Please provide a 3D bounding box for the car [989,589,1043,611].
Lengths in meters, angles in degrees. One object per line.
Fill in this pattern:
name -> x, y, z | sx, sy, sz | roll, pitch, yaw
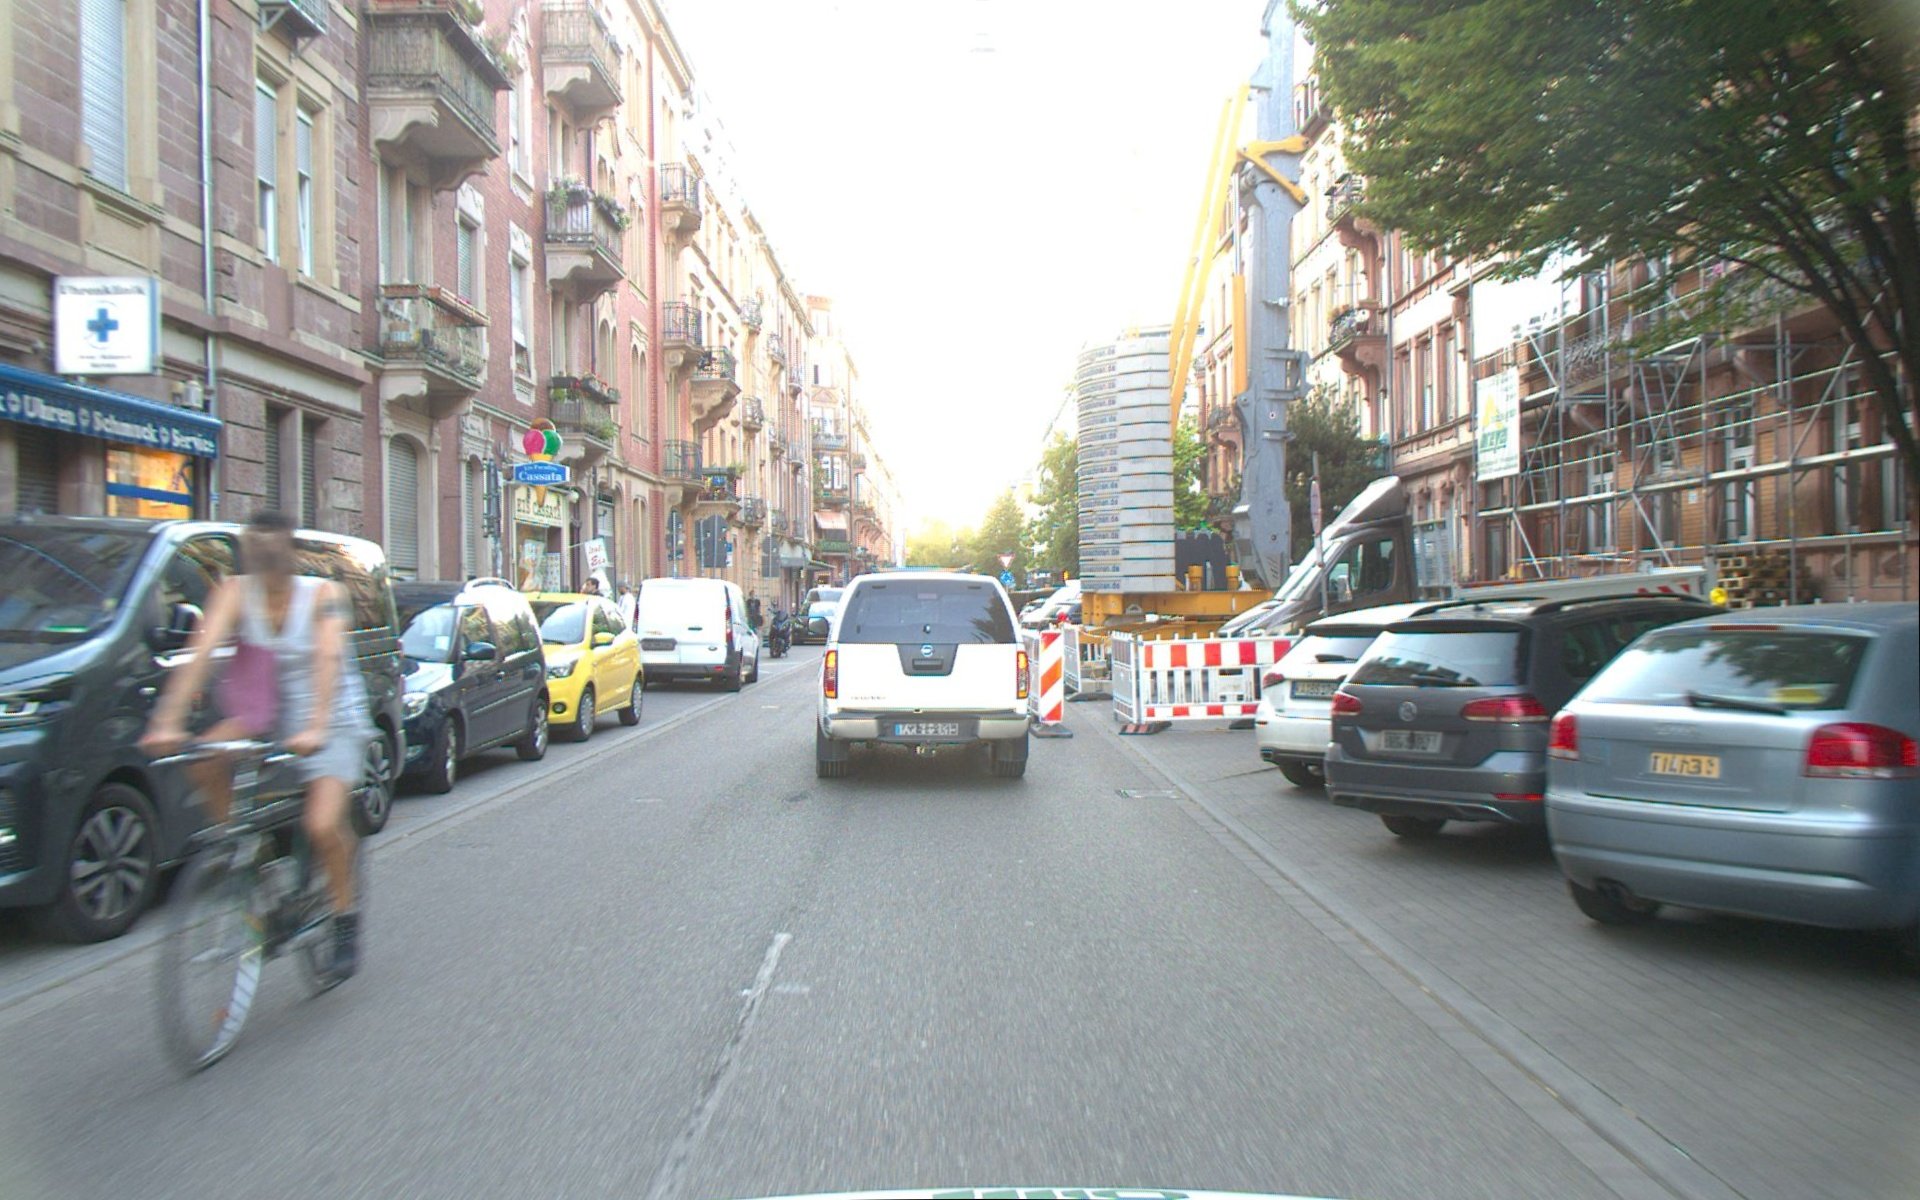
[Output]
car -> 4.332, 0.019, 127.645 | 4.108, 1.650, 1.820 | 0, 0, 2

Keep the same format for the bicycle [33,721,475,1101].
bicycle -> -2.371, 0.987, 5.877 | 0.784, 0.963, 2.004 | 0, 0, -2

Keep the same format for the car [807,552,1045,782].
car -> -0.446, 0.541, 15.543 | 1.895, 1.826, 4.617 | 0, 0, -5

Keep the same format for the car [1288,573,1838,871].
car -> 3.936, 0.633, 10.510 | 3.857, 1.557, 1.614 | 0, 0, -40

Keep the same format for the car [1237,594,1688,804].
car -> 4.096, 0.700, 13.365 | 3.513, 1.490, 1.594 | 0, 0, -32

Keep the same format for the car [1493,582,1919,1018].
car -> 4.404, 0.690, 7.688 | 3.794, 1.462, 1.741 | -2, 1, -35

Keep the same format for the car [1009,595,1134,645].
car -> 3.694, 0.650, 55.223 | 4.108, 1.650, 1.820 | 0, 0, 2

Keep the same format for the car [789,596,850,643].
car -> -4.801, 0.643, 57.072 | 1.755, 1.557, 4.000 | 0, 0, 0

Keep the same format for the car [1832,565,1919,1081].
car -> 4.835, 0.596, 5.256 | 3.778, 1.557, 1.748 | -2, 0, -26

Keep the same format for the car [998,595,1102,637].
car -> 3.613, 0.639, 66.428 | 4.108, 1.650, 1.820 | 0, 0, 2

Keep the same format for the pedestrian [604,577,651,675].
pedestrian -> -6.494, 0.501, 32.302 | 0.604, 1.902, 0.740 | 0, 0, 22

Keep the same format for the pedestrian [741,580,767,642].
pedestrian -> -6.861, 0.370, 55.067 | 0.772, 2.049, 0.934 | 0, 0, -1

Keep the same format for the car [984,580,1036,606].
car -> 4.380, -0.619, 144.221 | 4.492, 2.215, 1.820 | 0, 0, 2

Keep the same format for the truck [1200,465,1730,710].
truck -> 6.381, -0.104, 21.557 | 6.190, 3.029, 2.264 | 0, -3, 1

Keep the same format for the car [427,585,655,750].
car -> -4.533, 0.673, 18.425 | 1.468, 1.621, 3.857 | -1, 0, 1

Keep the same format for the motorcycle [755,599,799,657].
motorcycle -> -4.741, 0.707, 43.029 | 0.819, 1.440, 2.549 | 0, 0, 1

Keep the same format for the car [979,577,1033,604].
car -> 3.866, -0.801, 139.453 | 4.492, 2.215, 1.820 | 0, 0, 2

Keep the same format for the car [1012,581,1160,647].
car -> 3.540, 0.388, 46.836 | 4.108, 1.811, 1.820 | 0, 0, 2

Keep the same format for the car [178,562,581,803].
car -> -4.628, 0.589, 13.892 | 1.865, 1.692, 4.068 | -1, 0, 1

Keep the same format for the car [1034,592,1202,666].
car -> 3.956, 0.700, 41.532 | 4.106, 1.811, 1.821 | 0, 0, 5

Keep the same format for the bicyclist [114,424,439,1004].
bicyclist -> -2.376, 0.369, 5.868 | 0.784, 1.882, 0.943 | 0, 0, -3

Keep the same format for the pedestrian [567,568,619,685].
pedestrian -> -5.994, 0.428, 27.025 | 0.723, 1.902, 0.618 | 0, 0, -2

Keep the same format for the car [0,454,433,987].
car -> -4.452, 0.442, 8.536 | 1.866, 1.959, 4.947 | 0, 0, 0

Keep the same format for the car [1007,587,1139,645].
car -> 3.567, 0.511, 52.514 | 4.108, 1.811, 1.820 | 0, 0, 2

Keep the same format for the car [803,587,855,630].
car -> -4.948, 0.316, 62.847 | 1.675, 1.557, 3.999 | 0, 0, -1

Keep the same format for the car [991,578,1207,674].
car -> 2.729, 0.492, 32.532 | 4.106, 1.811, 1.821 | 0, 0, 5

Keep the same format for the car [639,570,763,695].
car -> -4.332, 0.515, 28.153 | 1.527, 1.955, 3.855 | 1, 0, -1

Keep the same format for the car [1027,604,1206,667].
car -> 3.685, 0.820, 39.034 | 4.106, 1.455, 1.821 | 0, 0, 5
